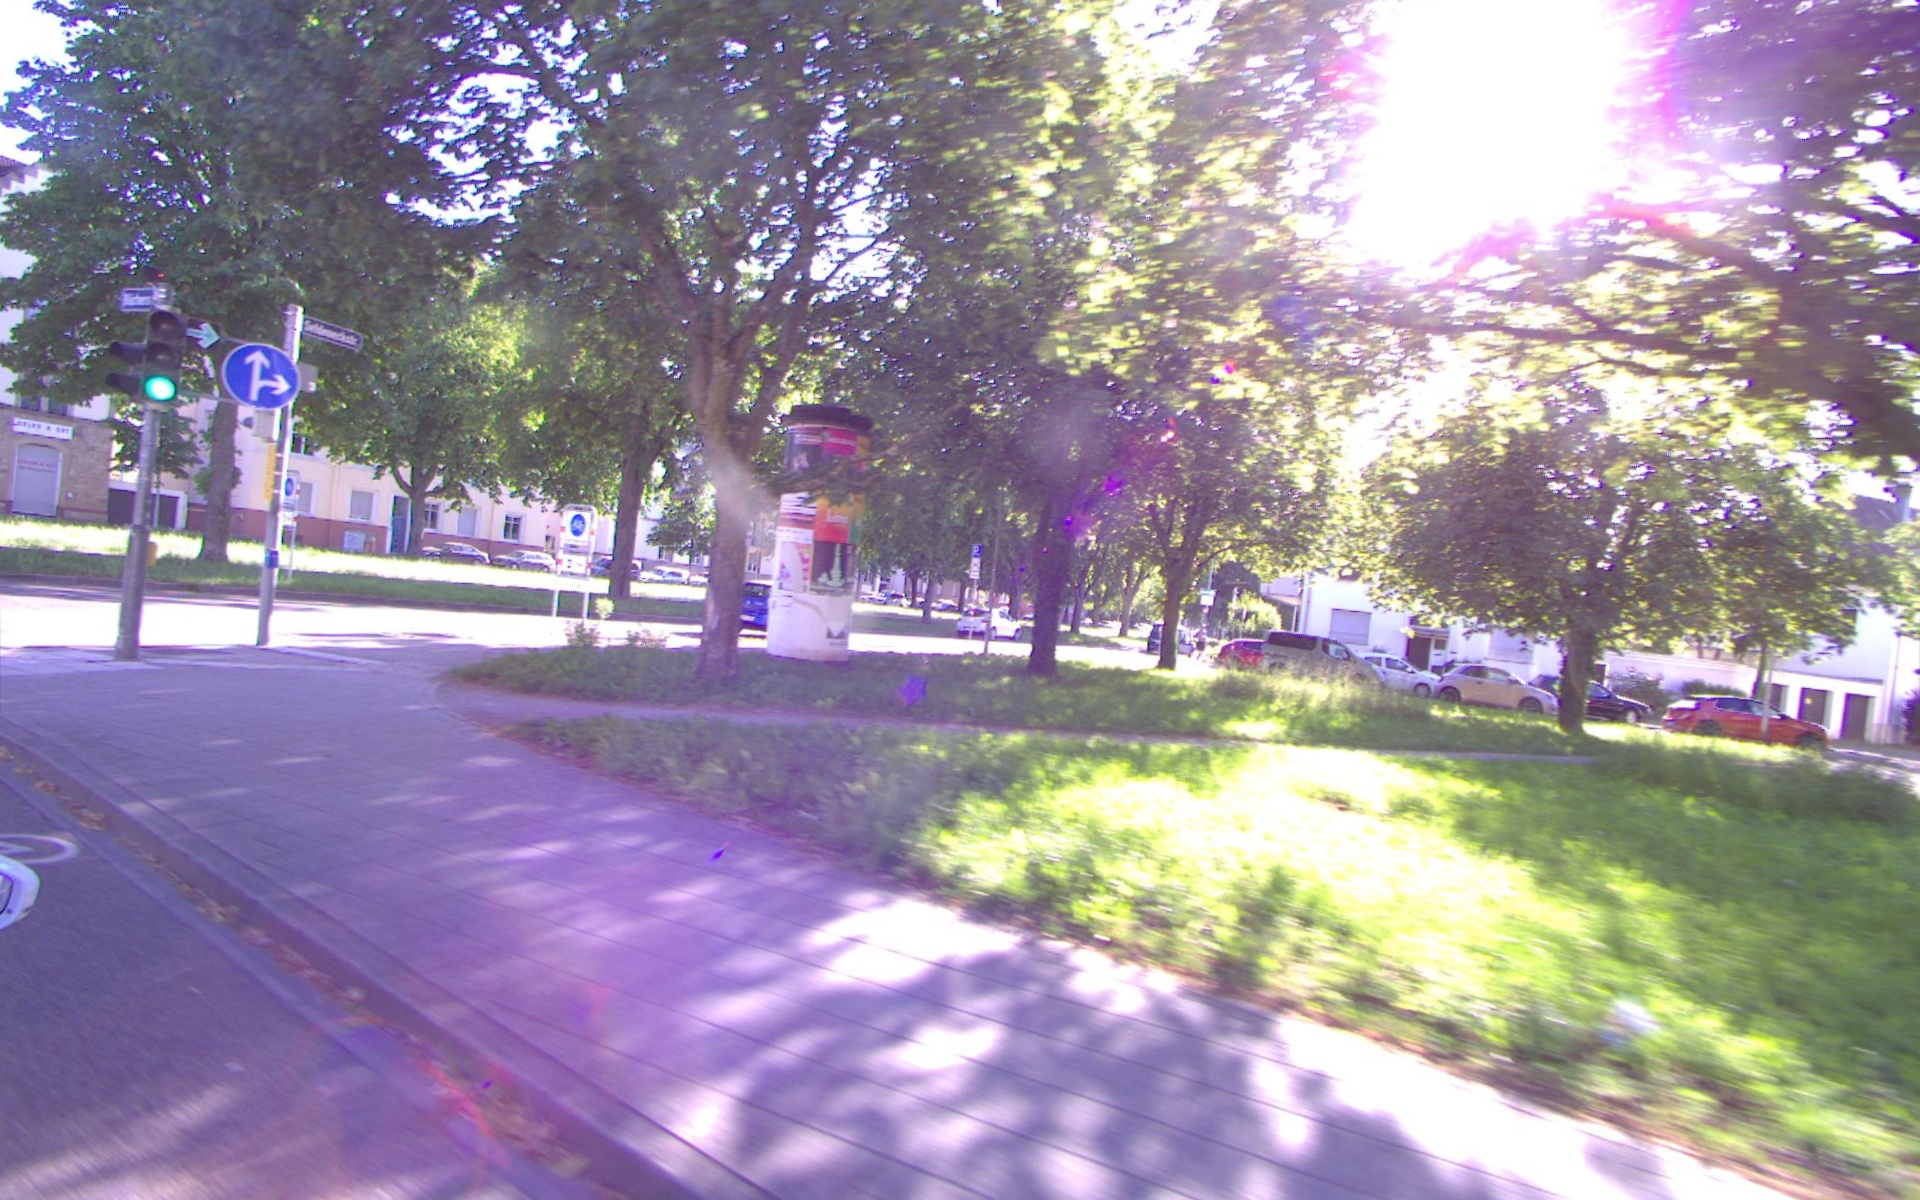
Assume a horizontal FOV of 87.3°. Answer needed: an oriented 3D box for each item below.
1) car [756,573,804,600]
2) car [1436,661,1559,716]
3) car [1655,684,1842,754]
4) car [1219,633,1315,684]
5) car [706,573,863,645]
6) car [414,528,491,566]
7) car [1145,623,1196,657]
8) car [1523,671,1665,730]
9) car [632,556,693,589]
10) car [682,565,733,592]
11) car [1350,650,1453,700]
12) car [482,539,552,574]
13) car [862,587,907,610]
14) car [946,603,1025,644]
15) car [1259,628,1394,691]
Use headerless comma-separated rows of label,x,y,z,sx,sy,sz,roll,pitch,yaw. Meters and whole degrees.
car,-15.175,-1.151,84.758,1.730,1.838,4.002,7,0,28
car,17.222,2.802,32.266,3.263,1.271,1.446,7,1,33
car,22.925,3.449,29.394,3.938,1.361,1.465,7,1,14
car,12.935,2.450,42.356,3.534,1.635,1.636,7,1,25
car,-4.475,0.284,26.155,1.760,1.467,3.992,7,0,30
car,-32.087,-3.319,63.713,1.730,1.838,3.963,7,0,28
car,12.108,2.325,57.682,1.642,1.696,3.802,7,0,30
car,23.155,3.639,36.912,3.928,1.503,1.797,7,1,19
car,-21.285,-1.946,72.074,1.730,1.838,4.002,7,0,28
car,-21.253,-1.795,84.916,1.730,1.838,4.105,7,0,28
car,17.578,2.955,40.044,3.535,1.503,1.635,7,1,27
car,-29.934,-2.925,68.054,1.730,1.838,3.963,7,0,28
car,-7.409,-0.150,99.375,1.959,1.838,4.825,7,0,29
car,1.168,1.039,43.927,1.716,1.459,3.802,7,0,30
car,12.696,2.045,34.920,4.027,1.635,1.634,7,1,31
